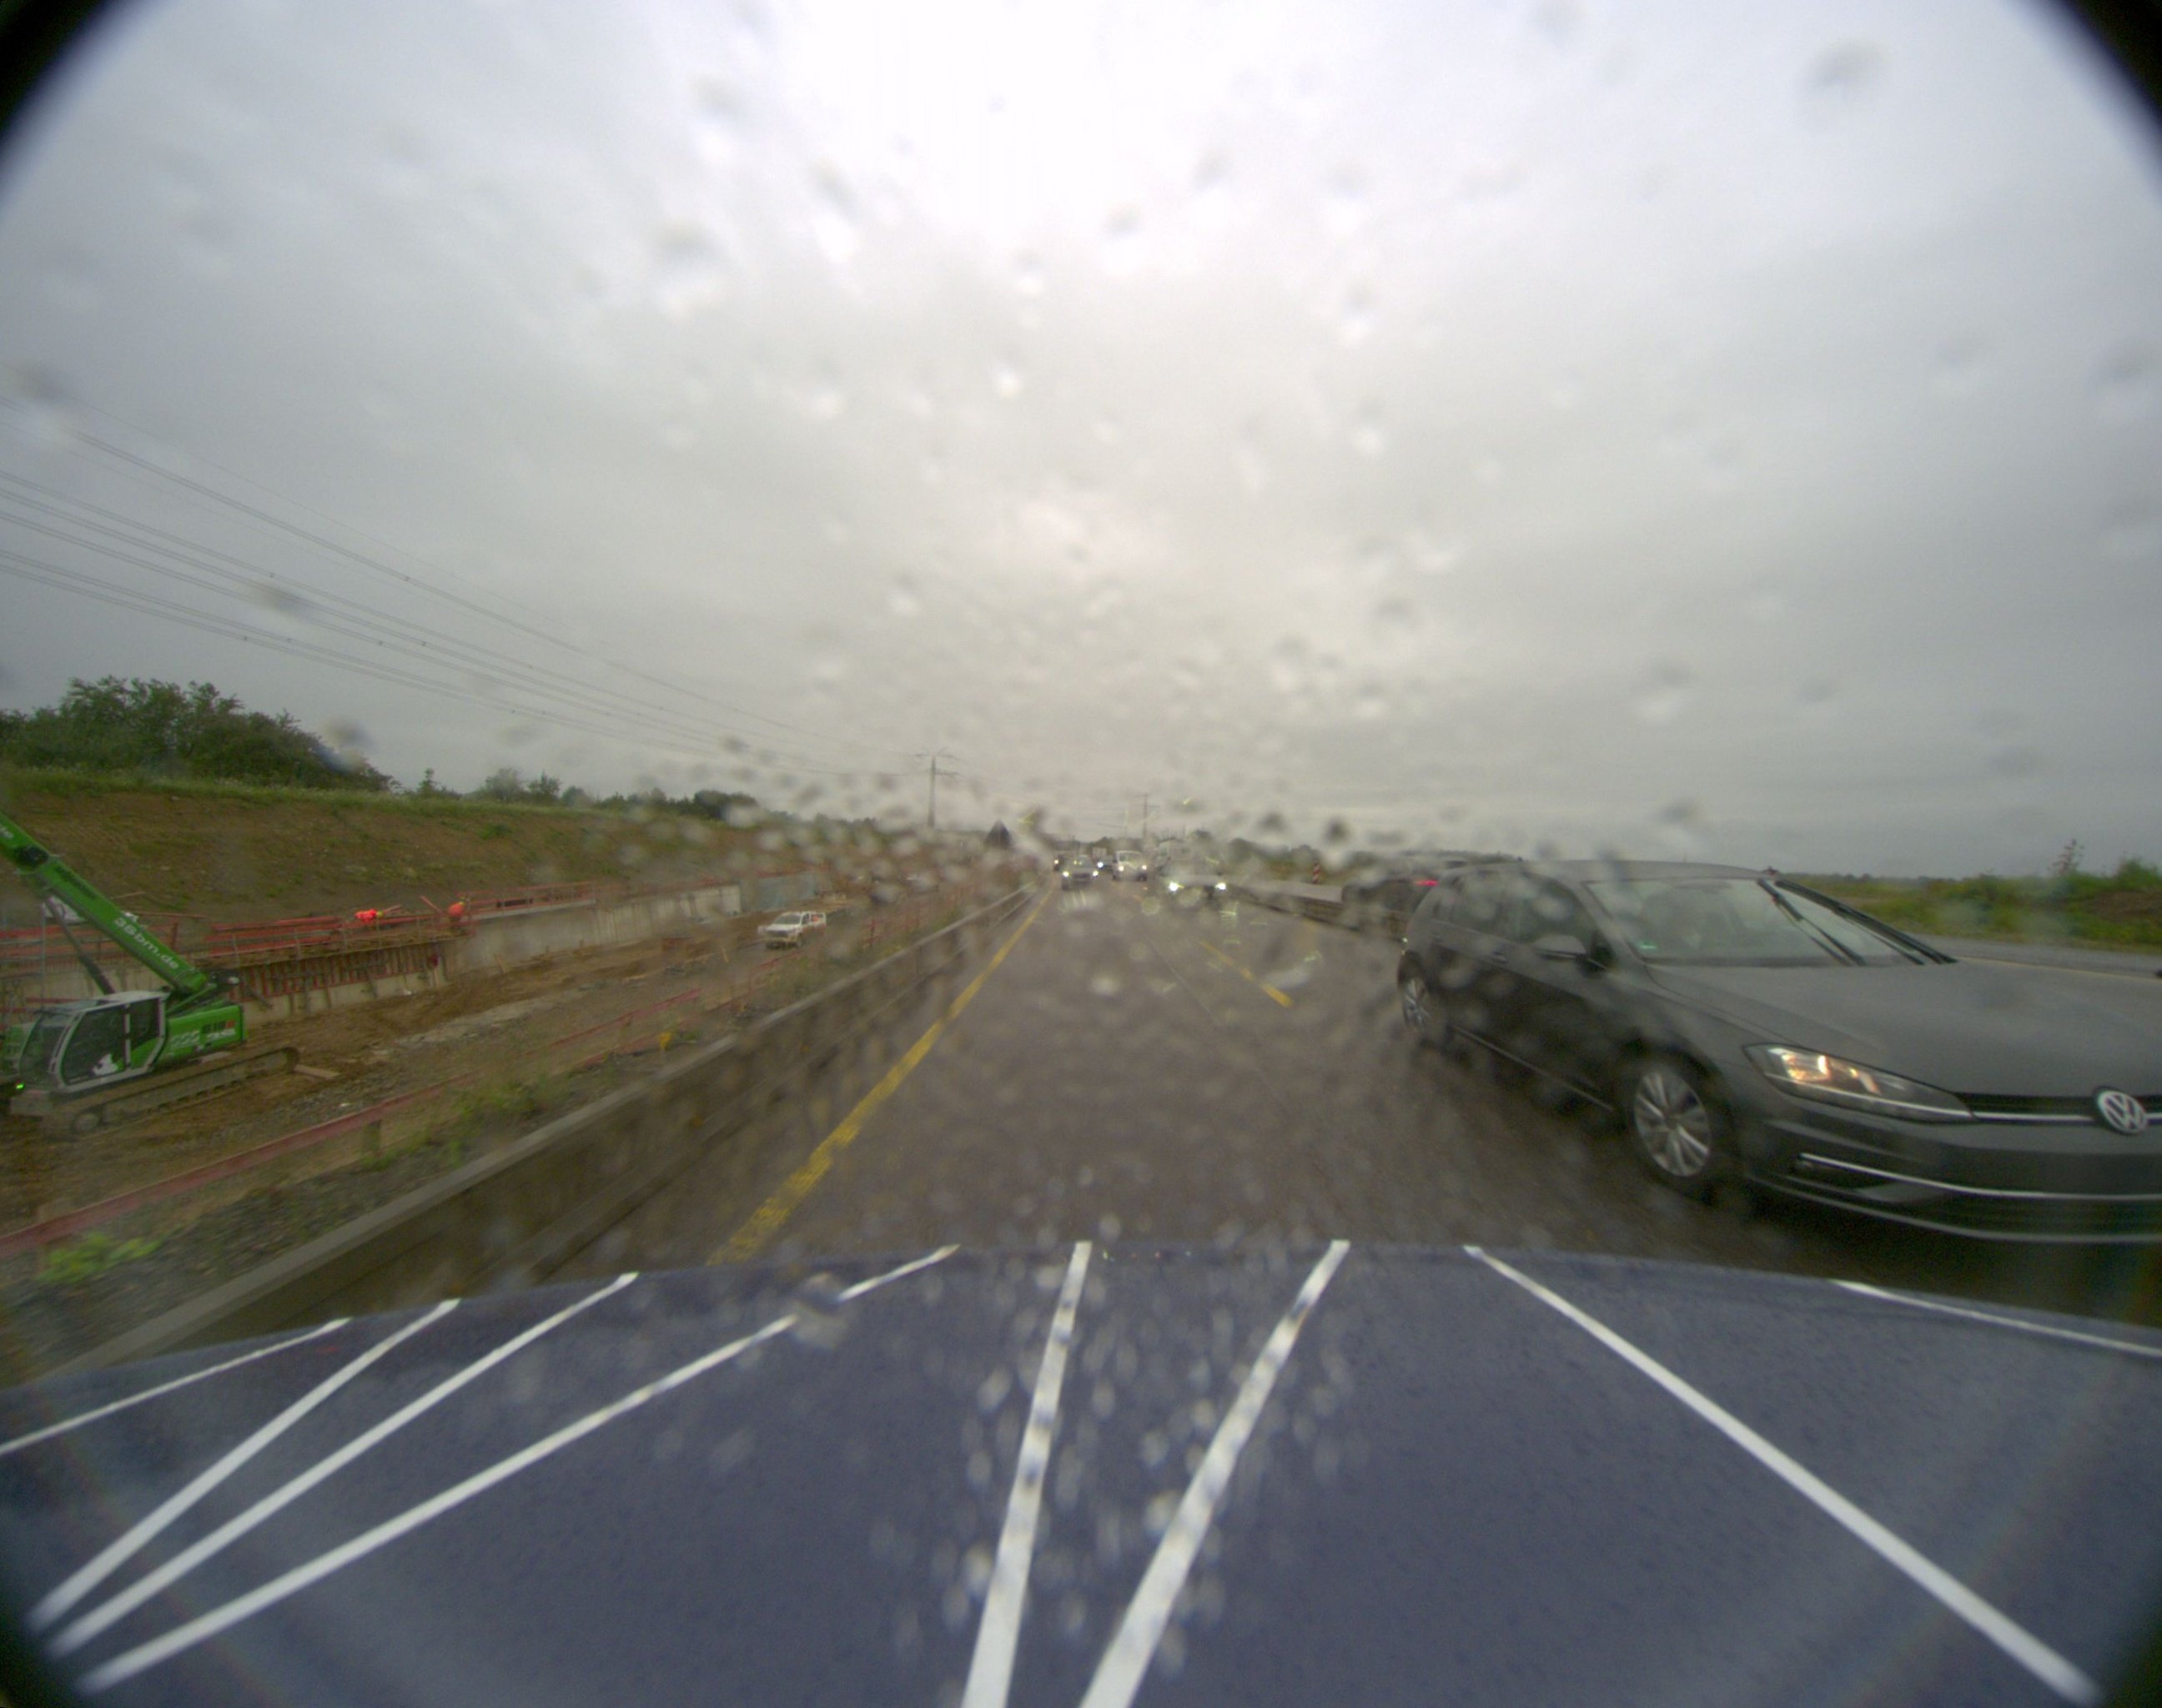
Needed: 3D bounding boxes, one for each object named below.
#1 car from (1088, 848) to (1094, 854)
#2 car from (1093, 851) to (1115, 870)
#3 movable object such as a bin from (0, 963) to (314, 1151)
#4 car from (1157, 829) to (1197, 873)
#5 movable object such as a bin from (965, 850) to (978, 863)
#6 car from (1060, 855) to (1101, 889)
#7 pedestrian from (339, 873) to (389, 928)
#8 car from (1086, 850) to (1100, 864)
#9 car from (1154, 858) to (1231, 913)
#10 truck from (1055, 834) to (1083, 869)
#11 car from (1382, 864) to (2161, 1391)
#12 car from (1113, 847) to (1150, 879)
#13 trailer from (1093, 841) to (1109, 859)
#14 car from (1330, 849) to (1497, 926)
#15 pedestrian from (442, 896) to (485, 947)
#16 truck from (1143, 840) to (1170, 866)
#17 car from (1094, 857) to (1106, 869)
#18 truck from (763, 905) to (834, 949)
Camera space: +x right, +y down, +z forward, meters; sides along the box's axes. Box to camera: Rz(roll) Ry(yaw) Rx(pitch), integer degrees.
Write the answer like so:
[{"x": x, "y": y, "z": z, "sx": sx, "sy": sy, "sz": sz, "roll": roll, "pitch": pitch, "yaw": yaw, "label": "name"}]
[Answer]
[{"x": 3.454, "y": -0.862, "z": 256.915, "sx": 1.842, "sy": 1.772, "sz": 3.999, "roll": -8, "pitch": 1, "yaw": -1, "label": "car"}, {"x": 2.019, "y": 0.530, "z": 67.593, "sx": 1.799, "sy": 1.521, "sz": 4.067, "roll": -2, "pitch": 1, "yaw": 1, "label": "car"}, {"x": -22.793, "y": 4.578, "z": 18.121, "sx": 3.802, "sy": 2.790, "sz": 4.850, "roll": -1, "pitch": 6, "yaw": 0, "label": "movable object such as a bin"}, {"x": 7.059, "y": -0.225, "z": 56.734, "sx": 1.999, "sy": 3.028, "sz": 7.170, "roll": -2, "pitch": 0, "yaw": 0, "label": "car"}, {"x": -24.315, "y": 0.562, "z": 168.766, "sx": 2.252, "sy": 2.703, "sz": 3.998, "roll": -2, "pitch": 1, "yaw": -2, "label": "movable object such as a bin"}, {"x": 0.040, "y": 0.836, "z": 37.859, "sx": 1.799, "sy": 1.524, "sz": 4.308, "roll": -2, "pitch": 0, "yaw": 3, "label": "car"}, {"x": -31.009, "y": 1.987, "z": 32.886, "sx": 0.917, "sy": 2.233, "sz": 1.005, "roll": -6, "pitch": 2, "yaw": -3, "label": "pedestrian"}, {"x": 1.663, "y": 0.403, "z": 105.464, "sx": 1.800, "sy": 1.850, "sz": 4.285, "roll": -2, "pitch": 1, "yaw": -2, "label": "car"}, {"x": 3.305, "y": 0.883, "z": 23.200, "sx": 1.799, "sy": 1.389, "sz": 4.268, "roll": -2, "pitch": 1, "yaw": 1, "label": "car"}, {"x": -1.265, "y": -0.367, "z": 84.362, "sx": 2.837, "sy": 3.617, "sz": 9.119, "roll": -2, "pitch": 1, "yaw": 0, "label": "truck"}, {"x": 3.302, "y": 0.834, "z": 4.259, "sx": 1.653, "sy": 1.414, "sz": 4.080, "roll": -1, "pitch": 1, "yaw": 1, "label": "car"}, {"x": 3.209, "y": 0.513, "z": 49.207, "sx": 2.160, "sy": 1.848, "sz": 5.179, "roll": -2, "pitch": 1, "yaw": 2, "label": "car"}, {"x": 4.783, "y": -1.027, "z": 182.247, "sx": 2.794, "sy": 4.176, "sz": 13.670, "roll": 0, "pitch": 0, "yaw": -2, "label": "trailer"}, {"x": 7.526, "y": 0.658, "z": 17.763, "sx": 1.899, "sy": 1.488, "sz": 4.580, "roll": -2, "pitch": 1, "yaw": 0, "label": "car"}, {"x": -29.232, "y": 3.196, "z": 35.975, "sx": 0.917, "sy": 2.219, "sz": 1.006, "roll": -6, "pitch": 2, "yaw": 5, "label": "pedestrian"}, {"x": 8.814, "y": -0.083, "z": 89.108, "sx": 2.365, "sy": 2.877, "sz": 6.548, "roll": 1, "pitch": 0, "yaw": 0, "label": "truck"}, {"x": 2.936, "y": 1.390, "z": 119.927, "sx": 1.799, "sy": 1.850, "sz": 4.286, "roll": -2, "pitch": 1, "yaw": 1, "label": "car"}, {"x": -16.019, "y": 4.075, "z": 43.427, "sx": 1.766, "sy": 1.860, "sz": 5.786, "roll": 1, "pitch": 1, "yaw": 1, "label": "truck"}]
